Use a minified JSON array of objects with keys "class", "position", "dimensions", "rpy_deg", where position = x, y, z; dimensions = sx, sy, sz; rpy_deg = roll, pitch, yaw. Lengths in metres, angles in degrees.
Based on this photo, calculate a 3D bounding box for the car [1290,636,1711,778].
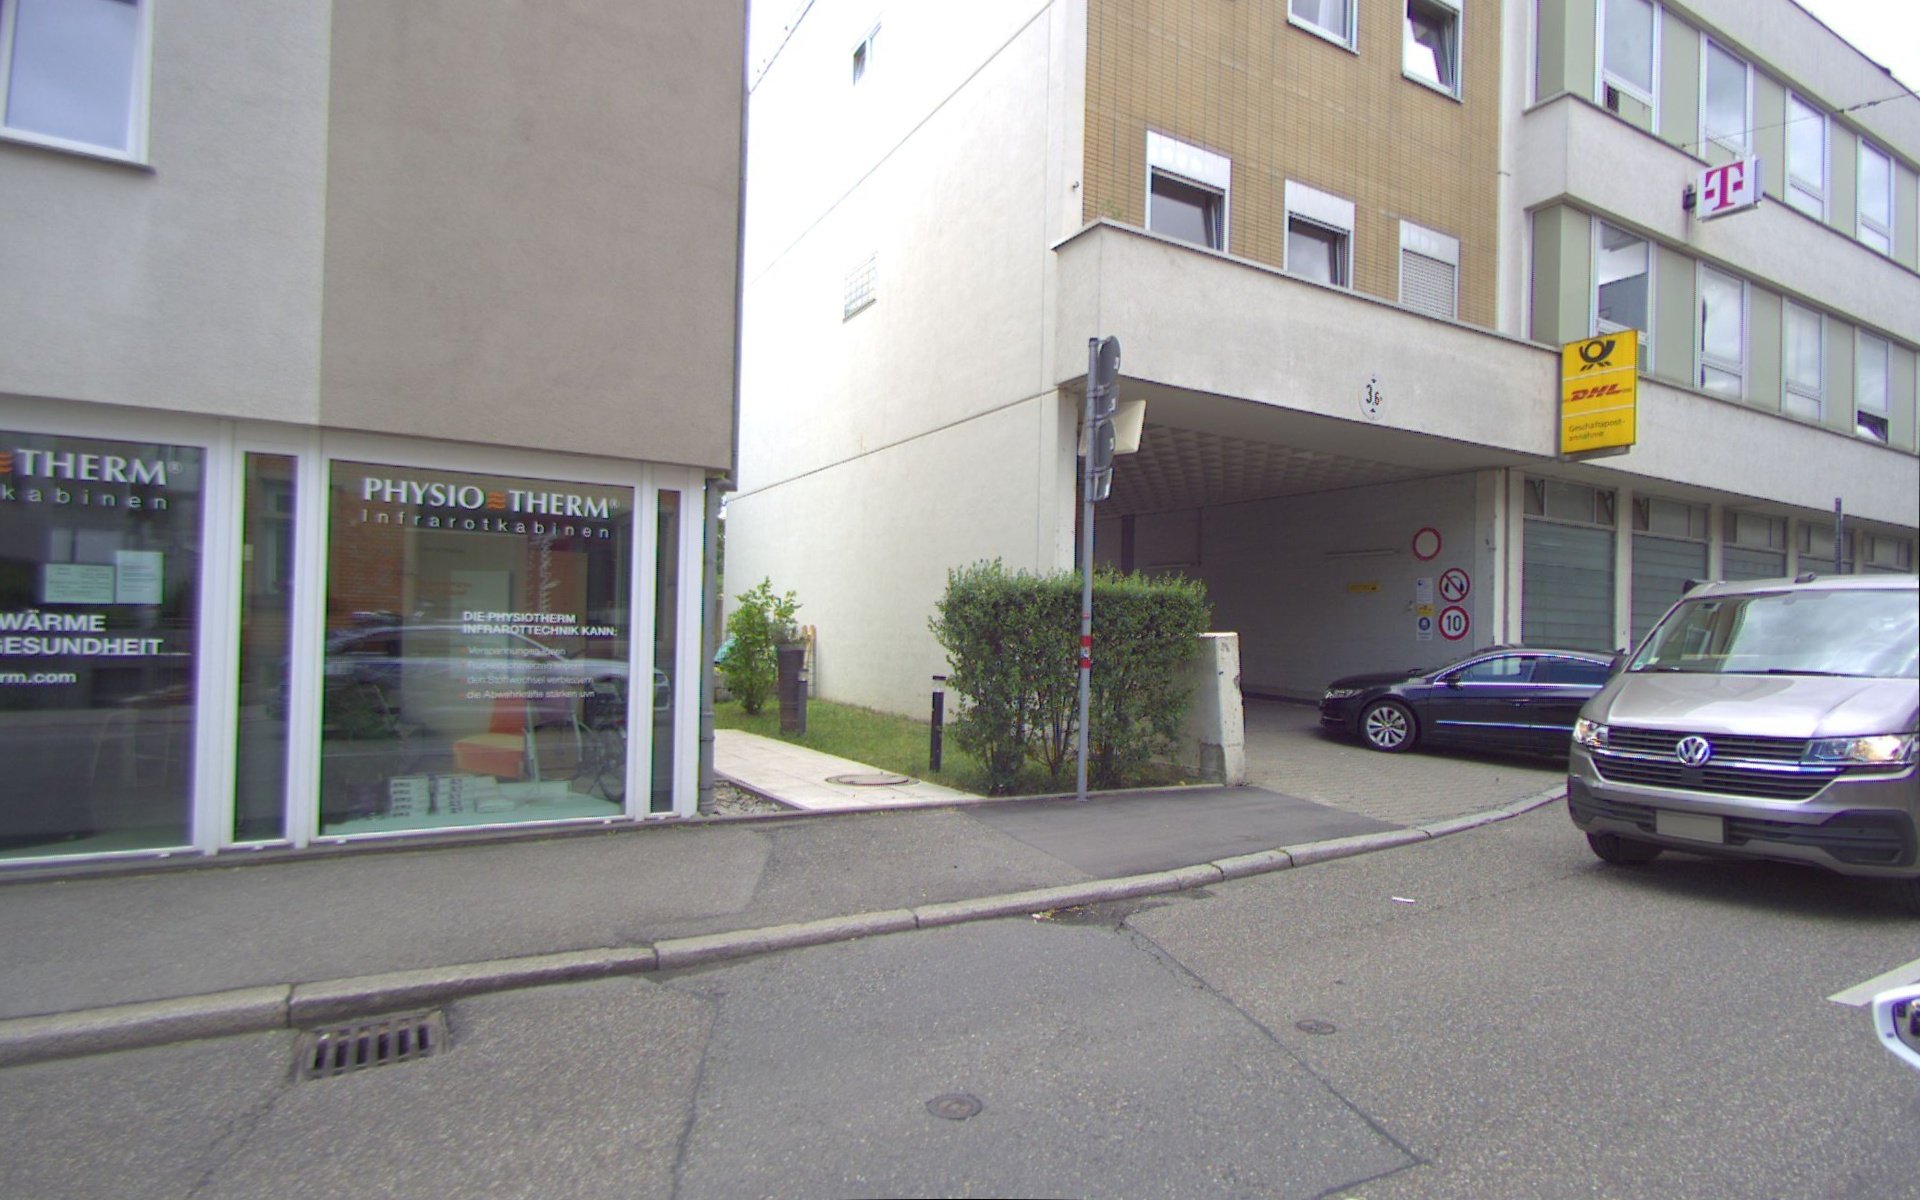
[{"class":"car","position":[6.544,1.196,12.523],"dimensions":[4.336,1.384,1.782],"rpy_deg":[0,-1,32]}]

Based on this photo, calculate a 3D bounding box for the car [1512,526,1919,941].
[{"class":"car","position":[6.260,0.759,7.067],"dimensions":[4.845,2.040,1.984],"rpy_deg":[2,-3,-31]}]
